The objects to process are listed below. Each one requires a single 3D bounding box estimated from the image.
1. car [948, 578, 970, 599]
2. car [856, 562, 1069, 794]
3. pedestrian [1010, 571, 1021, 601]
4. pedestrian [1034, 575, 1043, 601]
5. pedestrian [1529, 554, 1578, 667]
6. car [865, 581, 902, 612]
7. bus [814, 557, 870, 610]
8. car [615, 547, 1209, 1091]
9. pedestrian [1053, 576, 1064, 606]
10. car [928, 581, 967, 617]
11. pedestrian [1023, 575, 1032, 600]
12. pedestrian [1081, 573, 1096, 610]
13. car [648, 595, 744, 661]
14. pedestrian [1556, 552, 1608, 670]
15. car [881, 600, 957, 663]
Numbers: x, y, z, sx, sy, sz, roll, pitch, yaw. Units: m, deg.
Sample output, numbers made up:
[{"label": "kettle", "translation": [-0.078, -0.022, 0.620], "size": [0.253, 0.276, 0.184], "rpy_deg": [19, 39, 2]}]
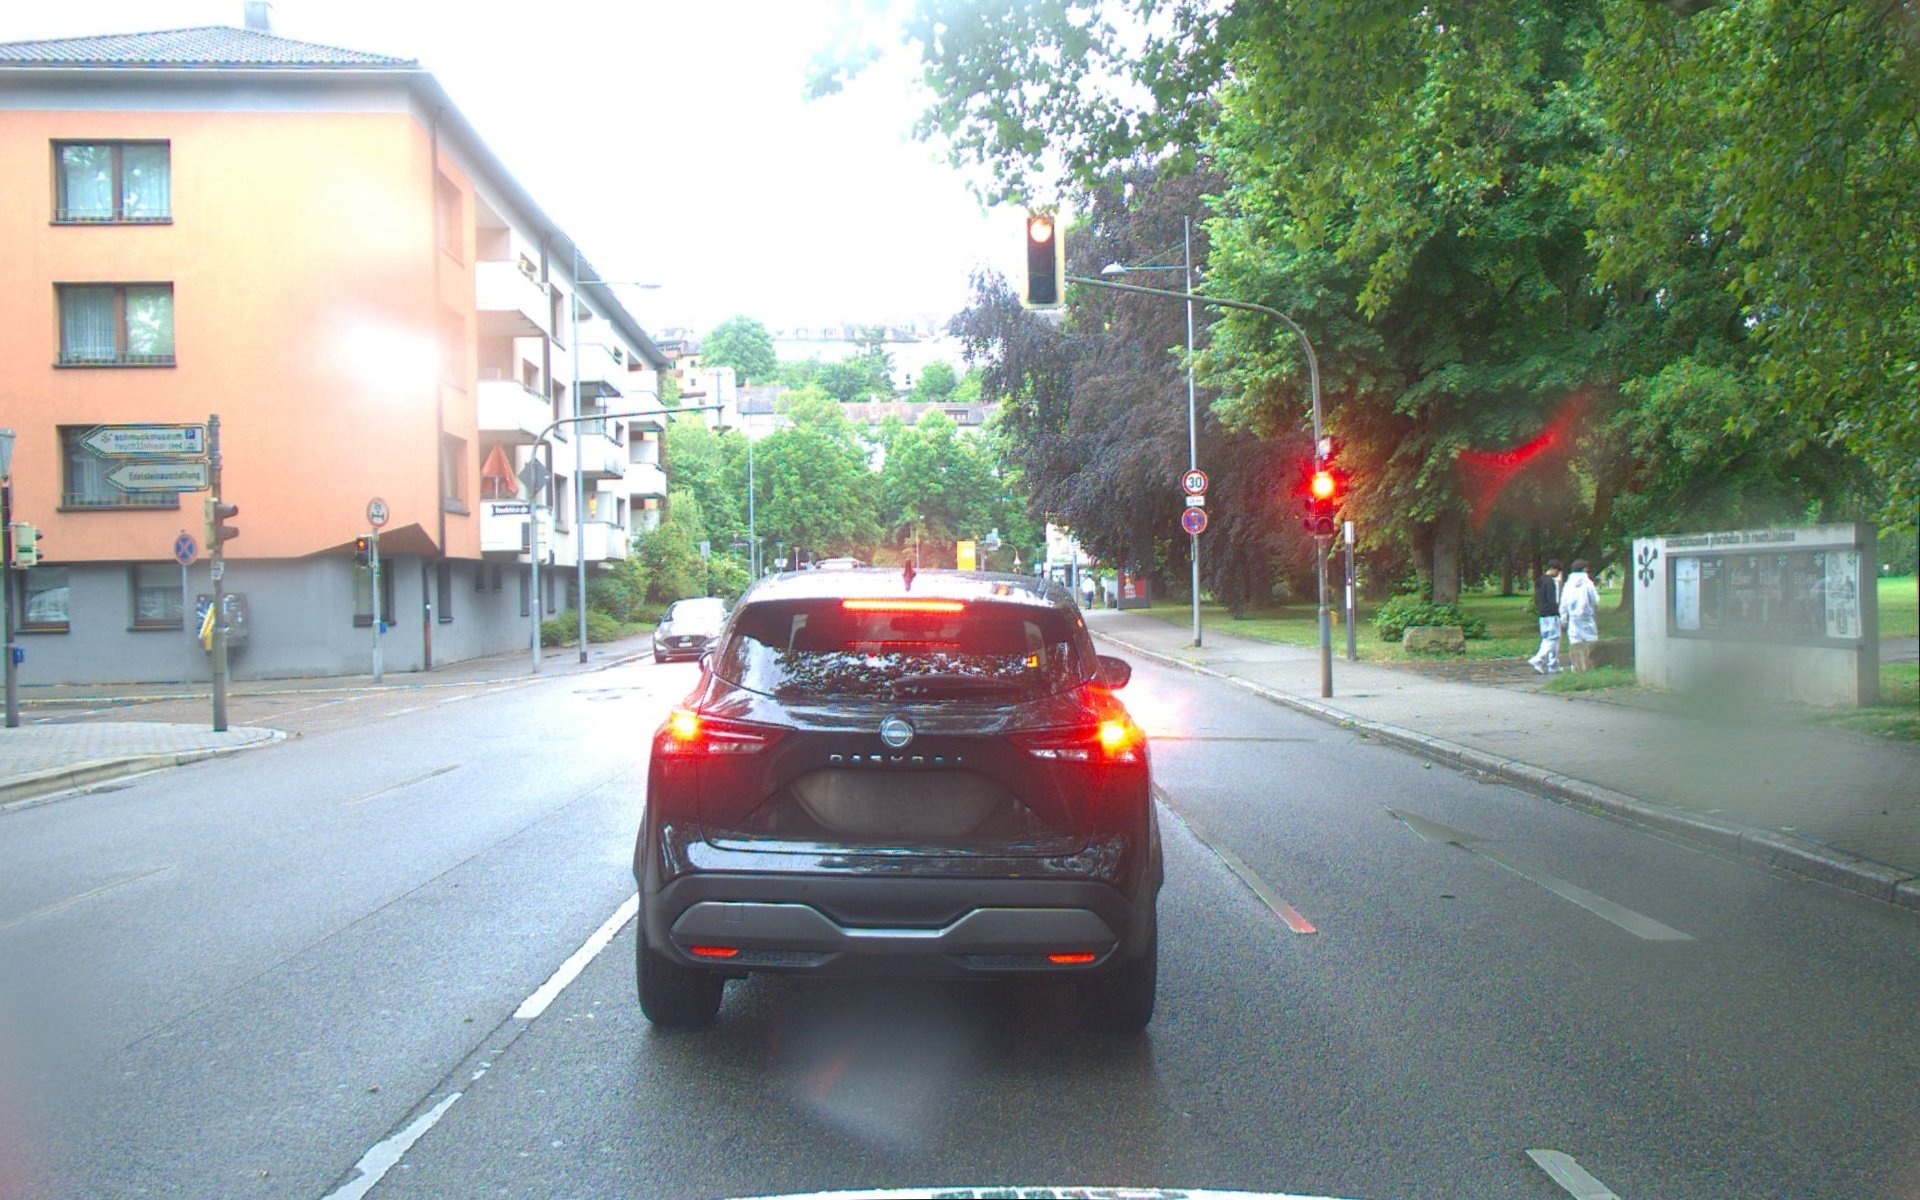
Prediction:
[{"label": "car", "translation": [-0.066, -0.967, 136.418], "size": [1.714, 1.662, 3.634], "rpy_deg": [-2, 1, 0]}, {"label": "car", "translation": [0.043, 0.589, 14.679], "size": [1.588, 1.738, 3.771], "rpy_deg": [-2, 0, 1]}, {"label": "pedestrian", "translation": [4.053, -1.010, 121.260], "size": [0.752, 2.222, 0.711], "rpy_deg": [1, -1, 2]}, {"label": "pedestrian", "translation": [5.178, -0.783, 109.177], "size": [0.504, 1.684, 0.550], "rpy_deg": [1, -1, -1]}, {"label": "pedestrian", "translation": [9.347, 0.163, 26.041], "size": [0.475, 1.751, 0.559], "rpy_deg": [-2, 0, -7]}, {"label": "car", "translation": [-3.676, -0.177, 79.501], "size": [1.591, 1.439, 3.454], "rpy_deg": [-2, 0, 0]}, {"label": "bus", "translation": [-7.215, -0.969, 102.547], "size": [2.710, 3.026, 11.779], "rpy_deg": [-1, 0, -1]}, {"label": "car", "translation": [-0.170, 0.671, 7.000], "size": [1.769, 1.618, 3.999], "rpy_deg": [1, 0, -1]}, {"label": "pedestrian", "translation": [6.049, -0.531, 101.716], "size": [0.606, 1.810, 0.550], "rpy_deg": [-2, 0, -1]}, {"label": "car", "translation": [-0.521, -0.051, 70.042], "size": [1.591, 1.439, 3.454], "rpy_deg": [-2, 0, 0]}, {"label": "pedestrian", "translation": [4.517, -0.814, 110.301], "size": [0.533, 1.680, 0.490], "rpy_deg": [1, -1, 0]}, {"label": "pedestrian", "translation": [6.341, -0.430, 81.417], "size": [0.606, 1.810, 0.778], "rpy_deg": [-2, 0, -1]}, {"label": "car", "translation": [-6.462, 0.642, 40.838], "size": [1.772, 1.441, 4.029], "rpy_deg": [-3, 1, -2]}, {"label": "pedestrian", "translation": [9.480, 0.161, 25.218], "size": [0.493, 1.751, 0.559], "rpy_deg": [-2, 0, -7]}, {"label": "car", "translation": [-1.035, 0.753, 41.040], "size": [1.772, 1.442, 4.029], "rpy_deg": [0, 0, -2]}]
